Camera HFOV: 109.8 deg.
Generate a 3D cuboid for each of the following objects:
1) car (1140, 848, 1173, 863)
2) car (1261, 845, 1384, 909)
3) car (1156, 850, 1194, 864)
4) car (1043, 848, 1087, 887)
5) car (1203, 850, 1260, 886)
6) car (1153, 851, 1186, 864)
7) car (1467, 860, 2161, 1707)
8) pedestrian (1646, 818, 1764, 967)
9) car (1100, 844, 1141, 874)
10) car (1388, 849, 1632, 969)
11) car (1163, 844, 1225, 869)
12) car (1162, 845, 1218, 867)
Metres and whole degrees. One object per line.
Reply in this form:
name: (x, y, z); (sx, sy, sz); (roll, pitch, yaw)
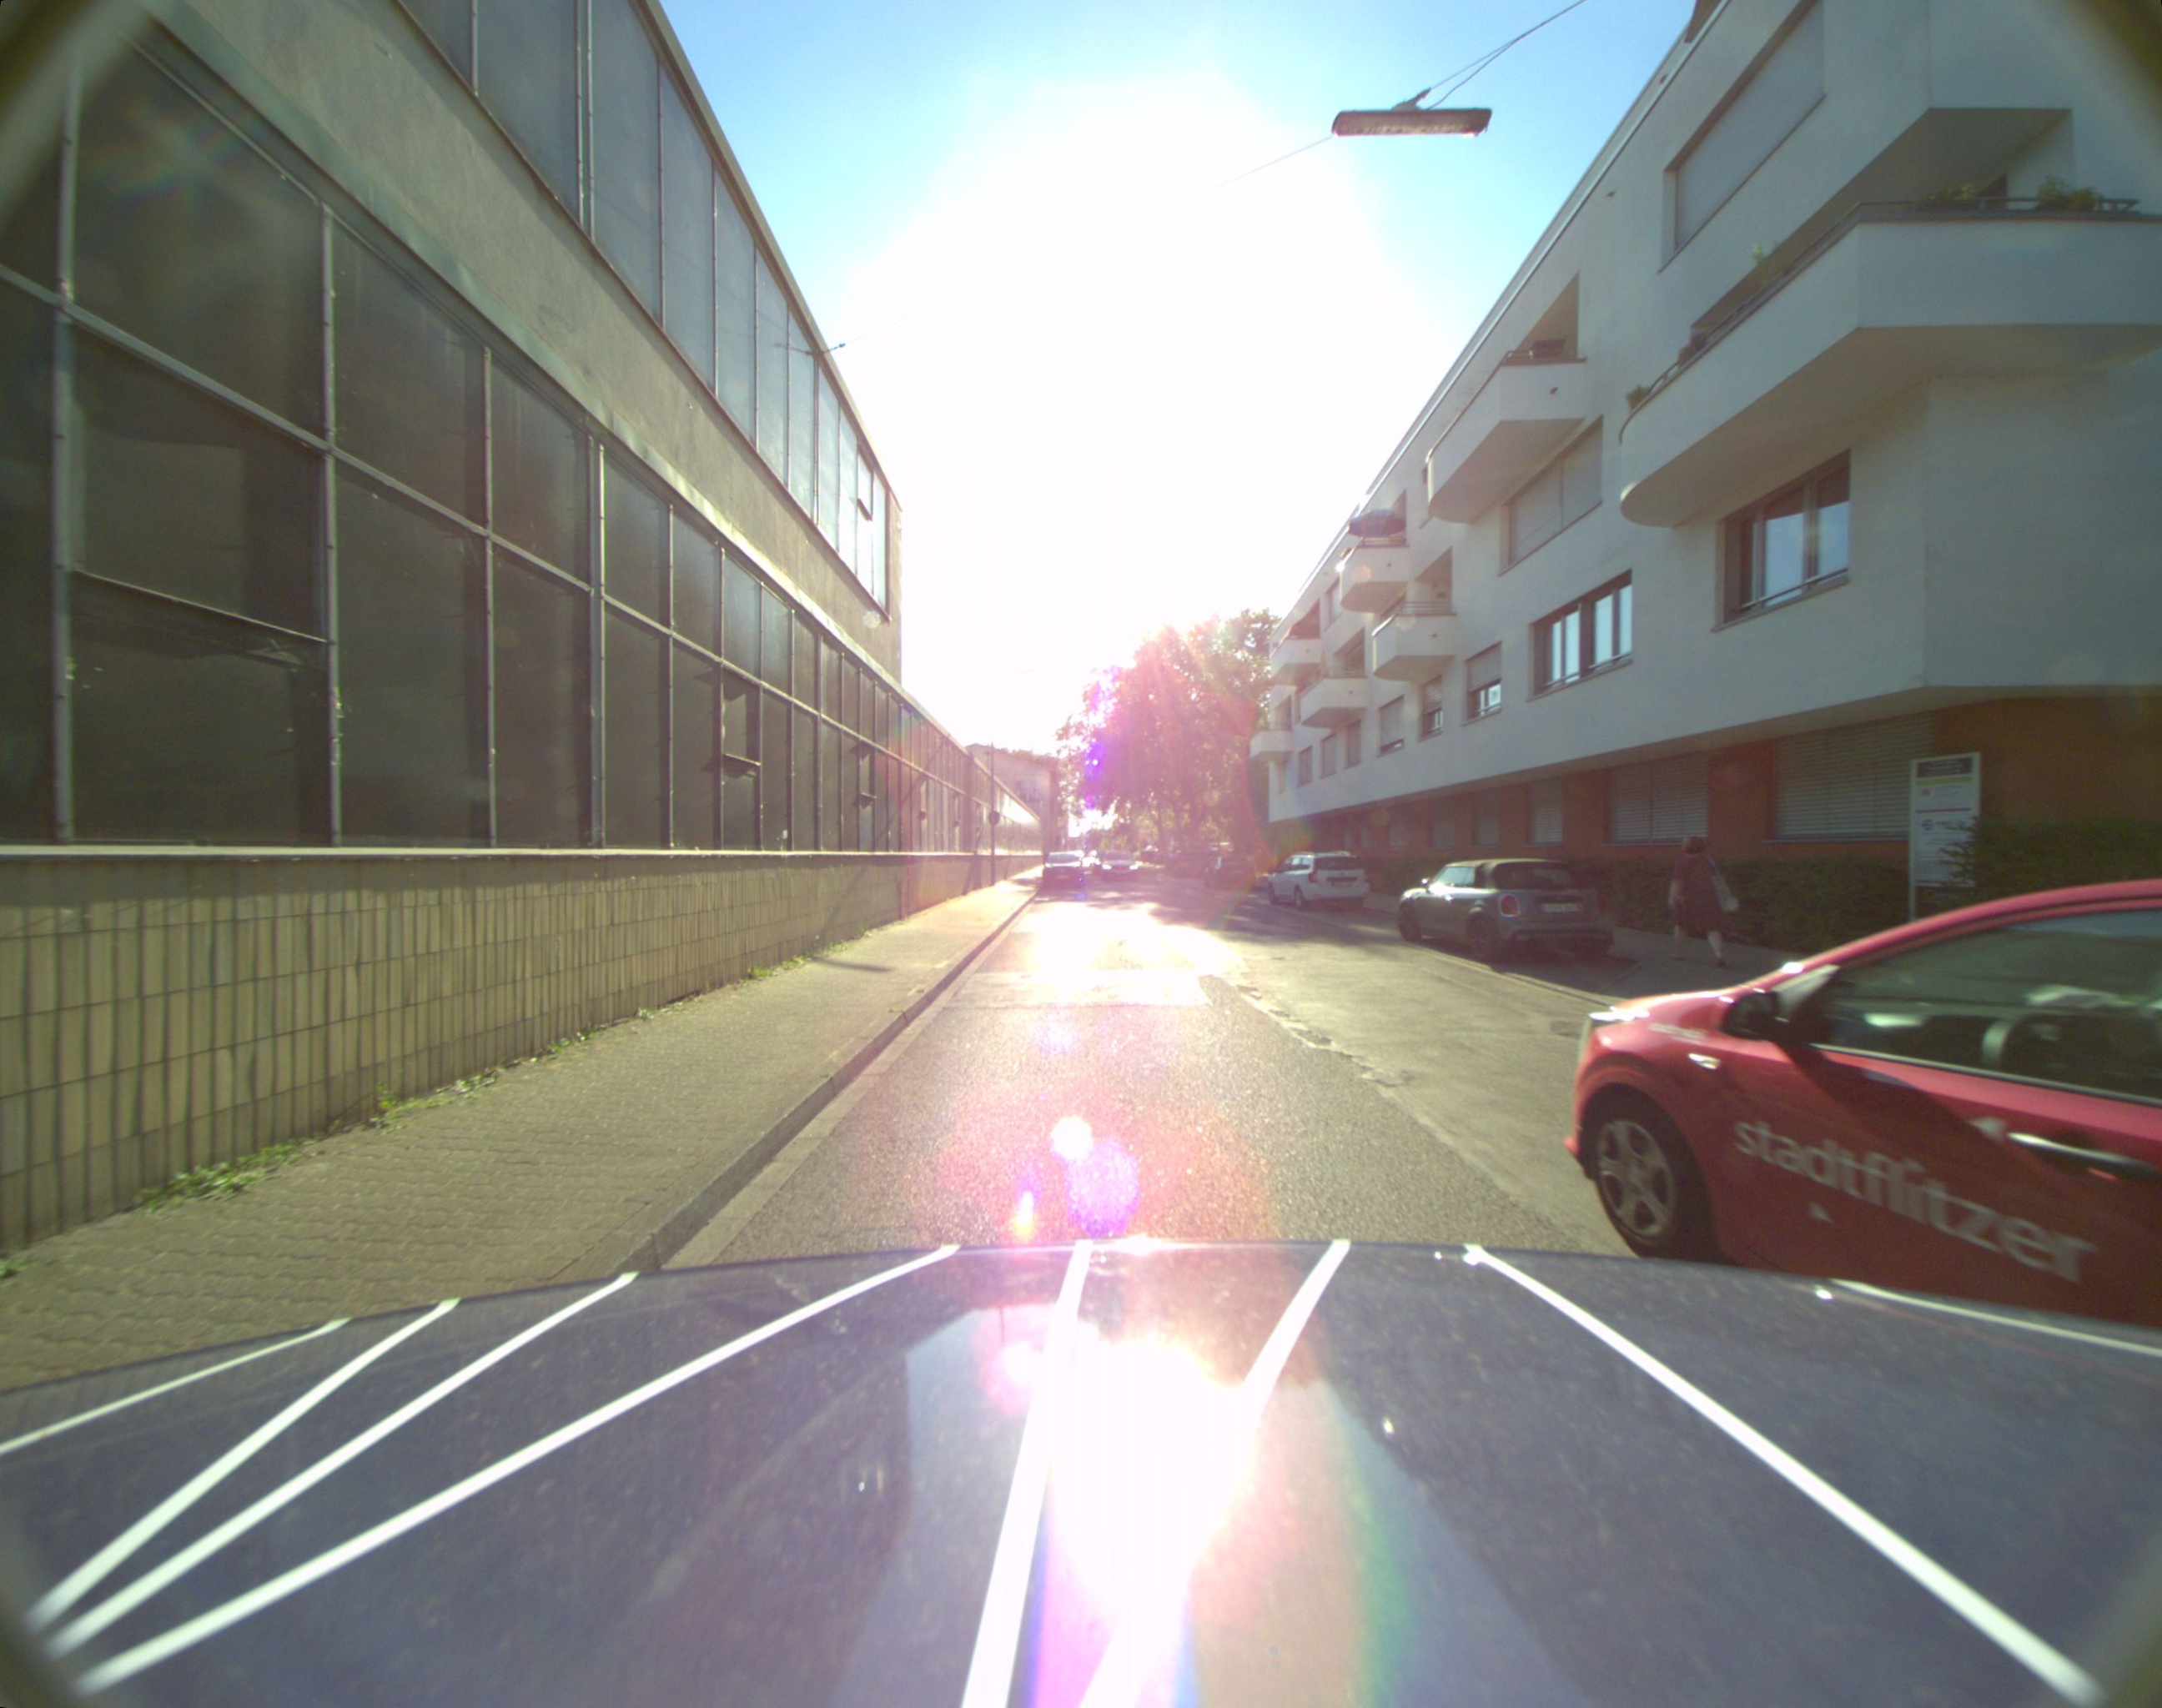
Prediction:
car: (9.706, 0.224, 97.486); (4.005, 1.876, 1.713); (-1, 1, -26)
car: (6.662, 0.552, 21.524); (1.863, 1.578, 4.619); (-1, 1, -2)
car: (11.094, 0.398, 89.750); (4.002, 1.615, 1.795); (0, 1, -14)
car: (-0.712, 0.536, 34.260); (1.812, 1.578, 4.404); (-1, 1, -1)
car: (6.484, 0.552, 33.086); (1.679, 1.425, 3.770); (-1, 1, 0)
car: (10.762, 0.418, 92.091); (3.603, 1.552, 1.647); (-1, 1, -18)
car: (2.863, 0.806, 1.711); (1.847, 1.482, 4.144); (2, 0, 0)
pedestrian: (8.067, 0.478, 9.887); (0.862, 1.808, 1.134); (-3, 0, 25)
car: (2.082, 0.227, 40.874); (1.855, 1.527, 3.855); (-1, 1, -2)
car: (6.456, 0.722, 11.984); (1.672, 1.527, 3.856); (-1, 1, 0)
car: (7.804, 0.149, 52.248); (3.965, 1.653, 1.696); (-1, 1, -27)
car: (9.198, 0.170, 64.095); (4.274, 1.765, 1.902); (-1, 1, -23)
